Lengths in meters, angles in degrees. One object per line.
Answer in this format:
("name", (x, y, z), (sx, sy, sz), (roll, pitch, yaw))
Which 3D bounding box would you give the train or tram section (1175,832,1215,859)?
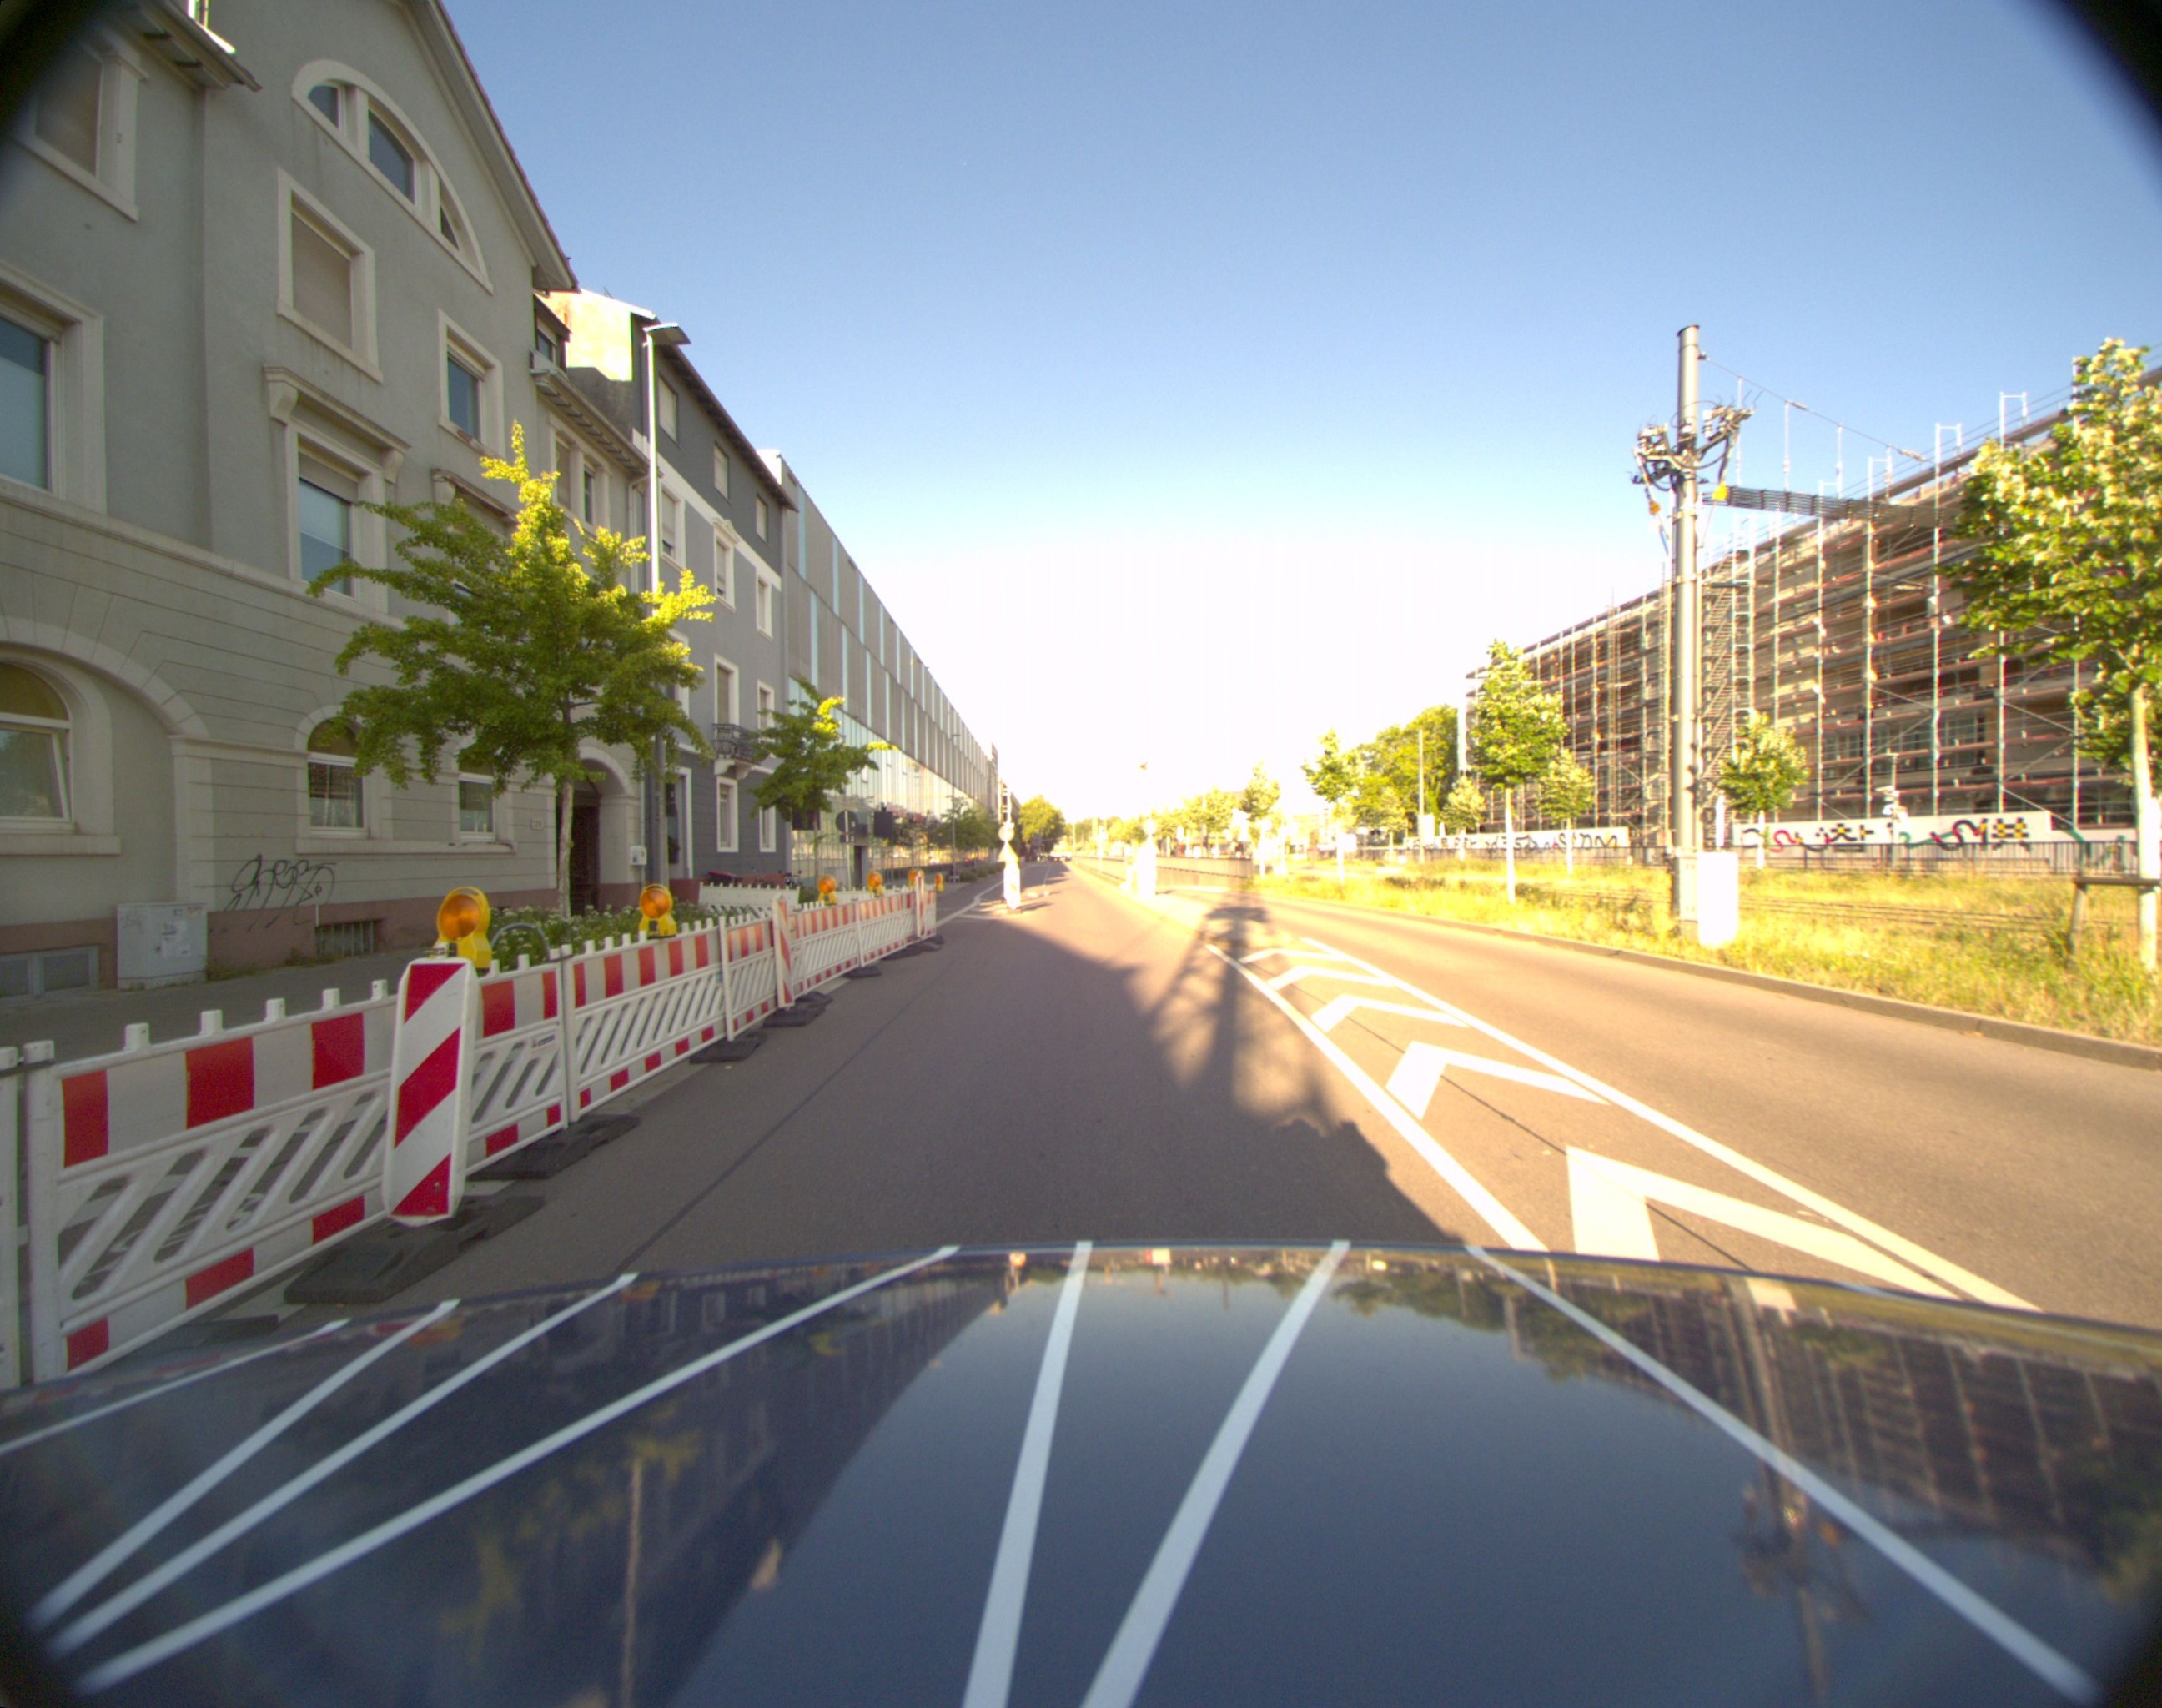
("train or tram section", (15.996, -1.210, 107.954), (2.954, 3.378, 14.761), (-2, 1, -2))

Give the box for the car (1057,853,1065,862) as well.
("car", (-4.875, 0.809, 187.180), (1.941, 2.002, 3.825), (-1, 0, -3))

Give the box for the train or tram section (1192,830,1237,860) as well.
("train or tram section", (16.389, -1.081, 94.235), (2.954, 3.378, 12.630), (-2, 1, -2))
